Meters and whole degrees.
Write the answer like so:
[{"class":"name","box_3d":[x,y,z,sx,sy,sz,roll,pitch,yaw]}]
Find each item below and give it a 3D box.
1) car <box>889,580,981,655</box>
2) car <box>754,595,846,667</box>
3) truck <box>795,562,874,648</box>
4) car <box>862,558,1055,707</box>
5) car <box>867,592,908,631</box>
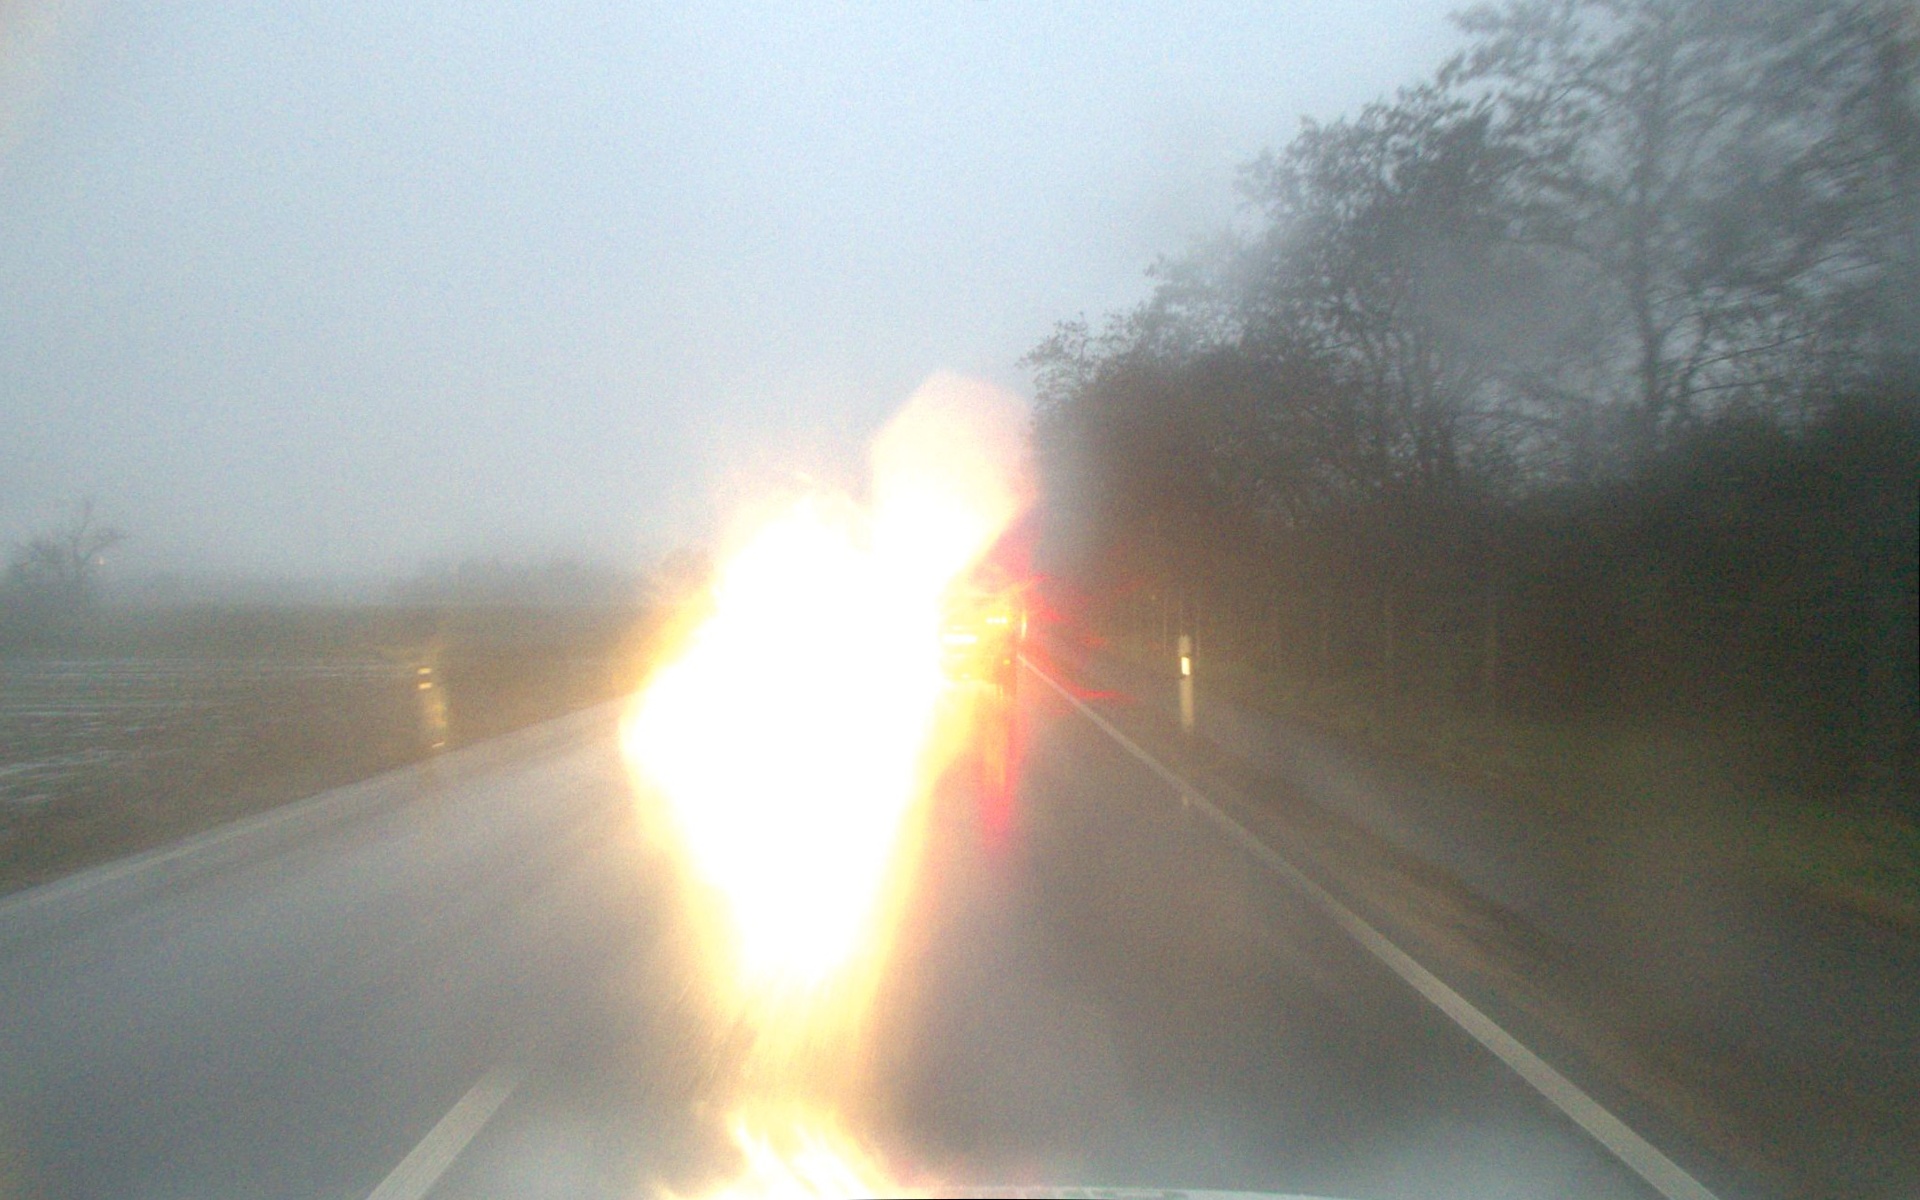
[{"class":"car","box_3d":[-0.703,0.495,49.273,2.539,2.049,5.804,1,0,0]},{"class":"car","box_3d":[-3.523,0.650,36.982,1.693,1.438,4.022,-3,0,-1]},{"class":"truck","box_3d":[-4.267,0.166,57.250,2.224,2.680,7.033,-3,0,-1]},{"class":"car","box_3d":[-0.010,0.477,26.969,2.762,2.113,5.804,1,0,0]},{"class":"car","box_3d":[-3.652,0.562,84.022,1.953,1.854,3.999,-2,0,-1]}]
